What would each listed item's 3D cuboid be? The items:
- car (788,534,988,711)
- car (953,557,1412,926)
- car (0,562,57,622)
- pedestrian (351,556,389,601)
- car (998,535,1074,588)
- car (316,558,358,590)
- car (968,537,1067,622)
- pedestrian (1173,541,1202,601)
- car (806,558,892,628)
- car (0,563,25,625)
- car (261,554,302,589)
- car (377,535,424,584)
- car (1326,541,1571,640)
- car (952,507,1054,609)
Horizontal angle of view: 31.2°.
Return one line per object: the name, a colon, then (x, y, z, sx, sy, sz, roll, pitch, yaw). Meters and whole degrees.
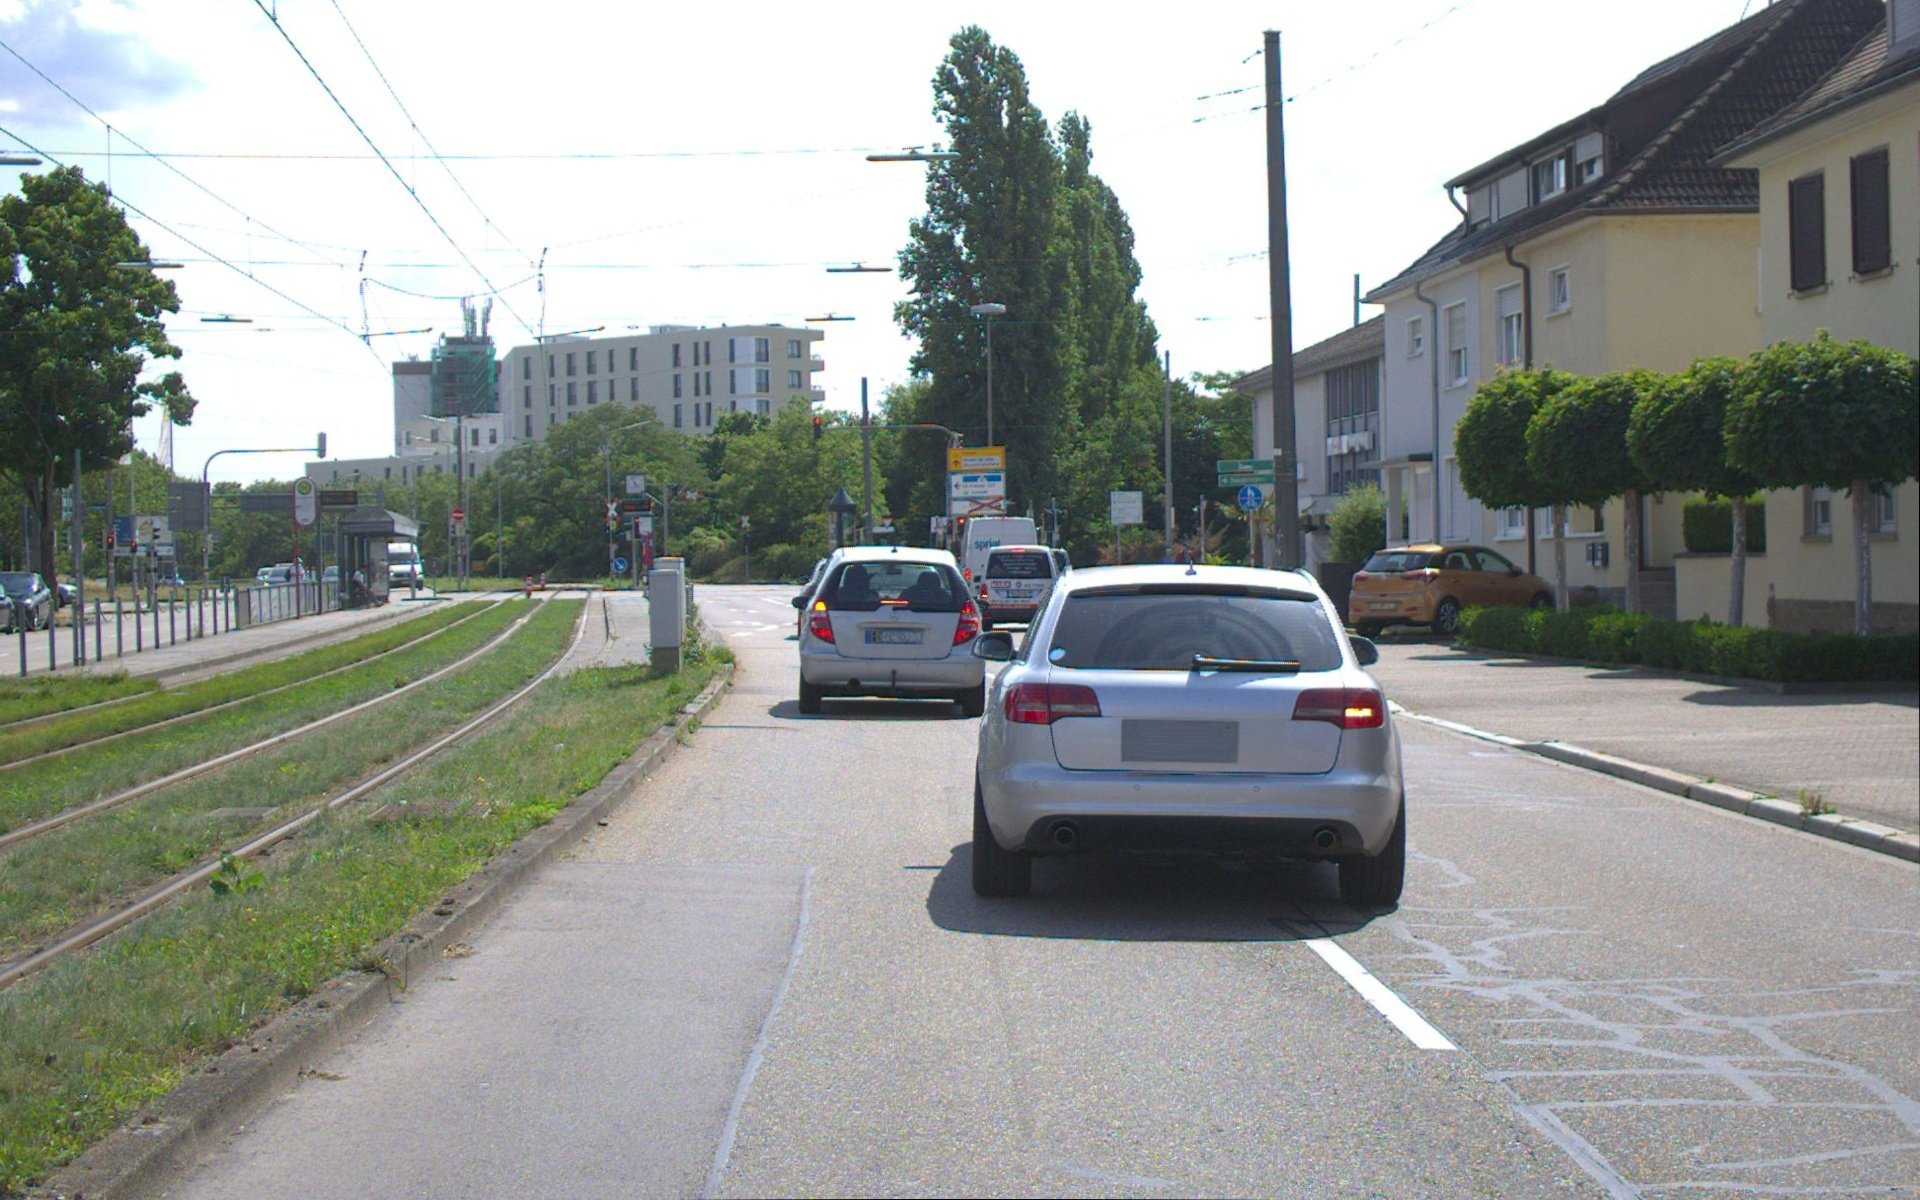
car: (-0.748, 0.182, 33.524, 1.787, 1.571, 4.095, 2, 1, -3)
car: (0.956, 0.549, 16.255, 1.854, 1.487, 4.536, 0, 1, 1)
car: (-26.098, -0.242, 94.719, 2.059, 1.608, 4.755, -1, 1, -11)
pedestrian: (-18.041, -0.659, 105.187, 1.058, 1.371, 0.860, 1, 0, -5)
car: (2.403, -1.204, 109.376, 1.884, 1.631, 4.095, 1, 0, -6)
car: (-30.124, -1.250, 166.229, 1.896, 1.536, 3.730, 1, 0, -9)
car: (1.237, -0.447, 72.405, 1.885, 1.725, 4.094, -1, 1, 4)
pedestrian: (6.845, -0.868, 103.544, 0.721, 1.776, 0.703, -3, 1, -3)
car: (-2.545, -0.162, 78.644, 1.885, 1.525, 4.095, 1, 0, -2)
car: (-25.382, -0.158, 88.522, 1.786, 1.578, 3.931, 0, 1, -4)
car: (-33.287, -1.386, 168.781, 1.862, 1.645, 4.001, 1, 0, -10)
car: (-30.060, -2.168, 184.676, 1.993, 2.597, 4.880, 1, 0, -15)
car: (8.024, -0.185, 56.241, 1.915, 1.453, 4.082, 1, 3, 45)
car: (1.080, -1.082, 88.985, 2.040, 2.549, 5.232, 0, 1, -6)
